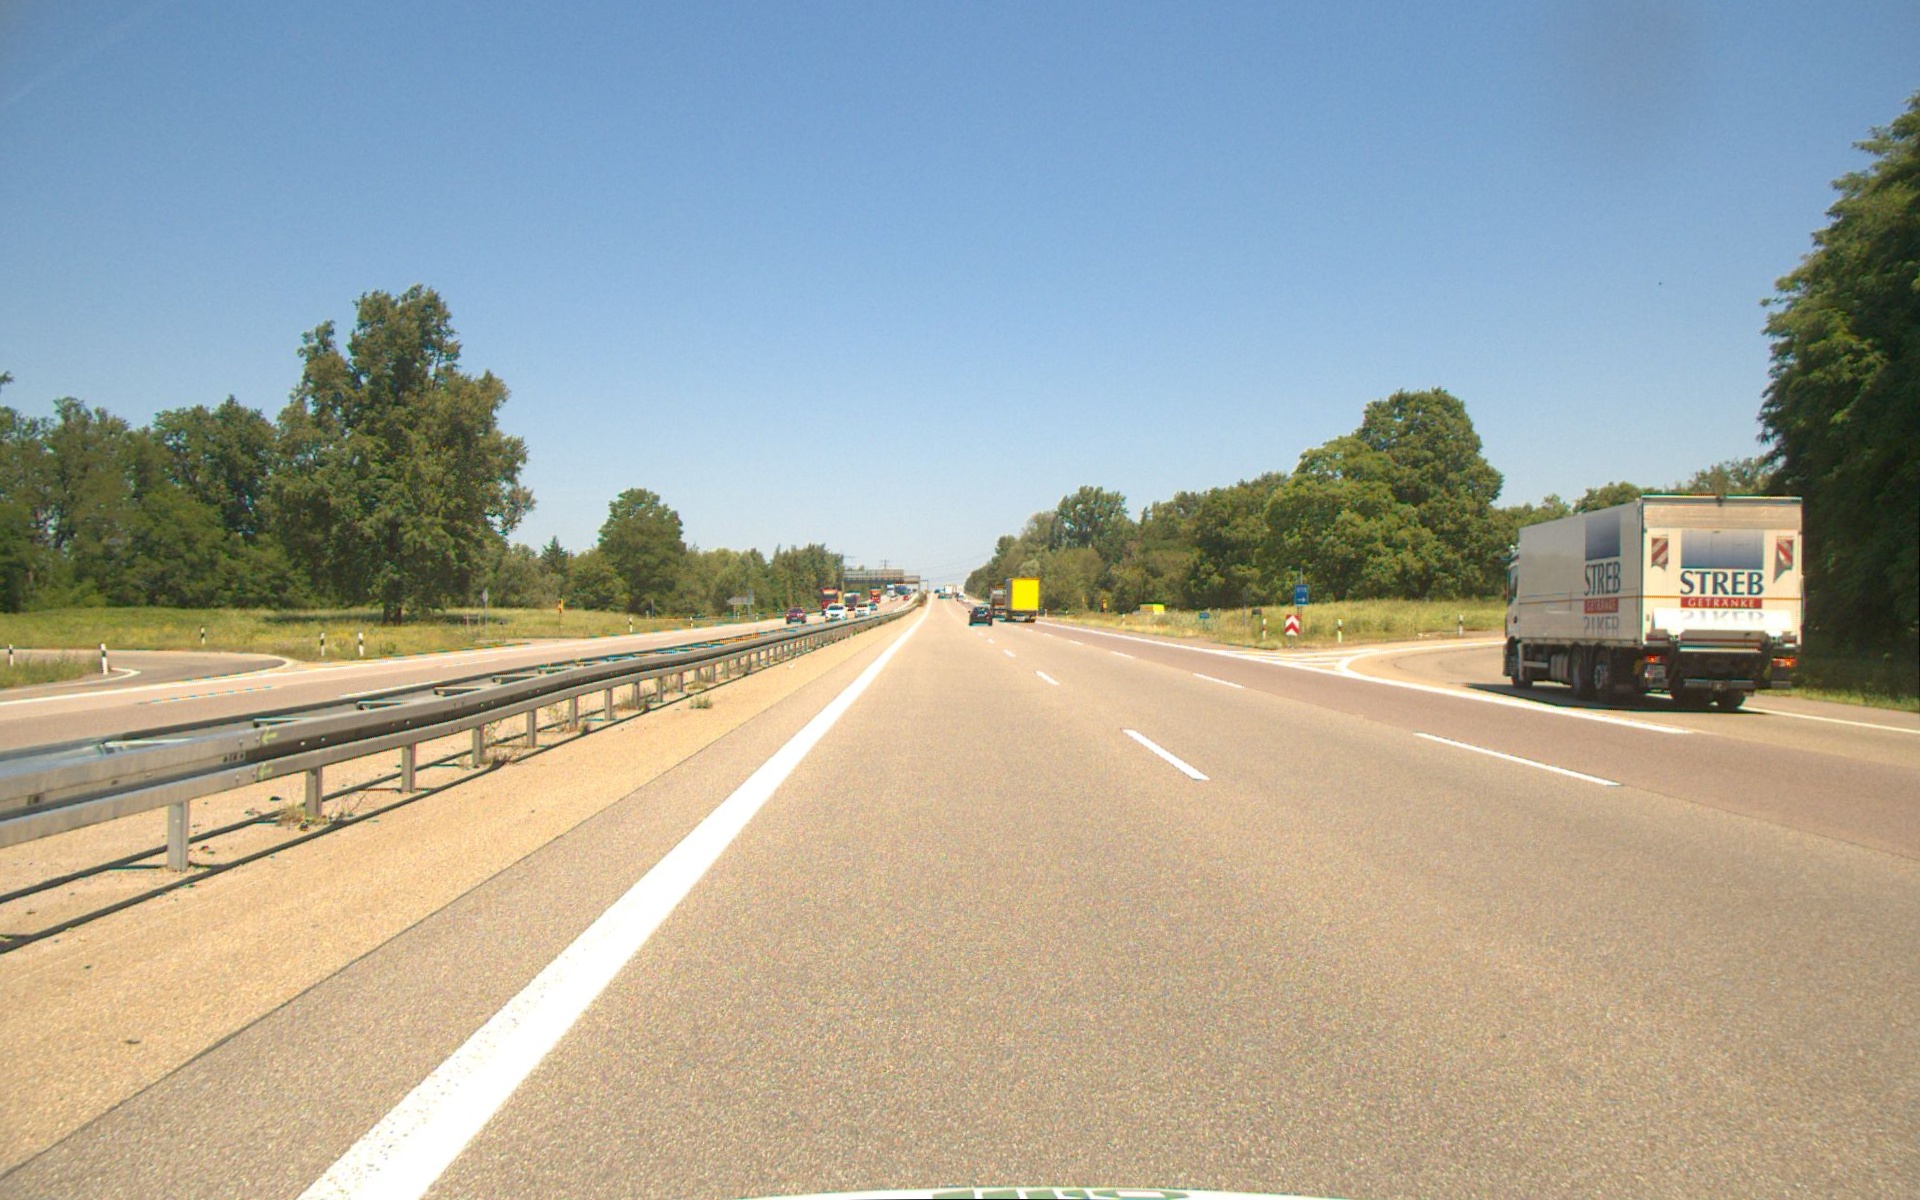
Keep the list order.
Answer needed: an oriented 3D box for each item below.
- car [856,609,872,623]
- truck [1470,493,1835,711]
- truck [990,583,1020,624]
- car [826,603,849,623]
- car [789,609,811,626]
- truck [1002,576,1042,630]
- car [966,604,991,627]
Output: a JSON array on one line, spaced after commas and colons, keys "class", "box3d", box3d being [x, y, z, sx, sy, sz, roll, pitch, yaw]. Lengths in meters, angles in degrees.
[{"class": "car", "box3d": [-12.005, 1.935, 206.535, 1.774, 1.722, 5.124, 0, 0, -1]}, {"class": "truck", "box3d": [12.560, 0.058, 31.443, 2.965, 3.377, 10.775, 1, 0, 3]}, {"class": "truck", "box3d": [5.650, 0.468, 209.645, 3.298, 4.966, 15.084, 1, 0, 0]}, {"class": "car", "box3d": [-10.824, 1.135, 146.621, 1.726, 1.722, 4.818, 0, 0, -1]}, {"class": "car", "box3d": [-15.095, 1.606, 156.327, 1.726, 1.521, 4.074, -2, 0, -1]}, {"class": "truck", "box3d": [6.062, 0.302, 162.968, 3.308, 4.966, 15.084, 1, 0, 0]}, {"class": "car", "box3d": [1.411, 1.194, 126.741, 1.790, 1.736, 3.999, 1, 0, -1]}]
